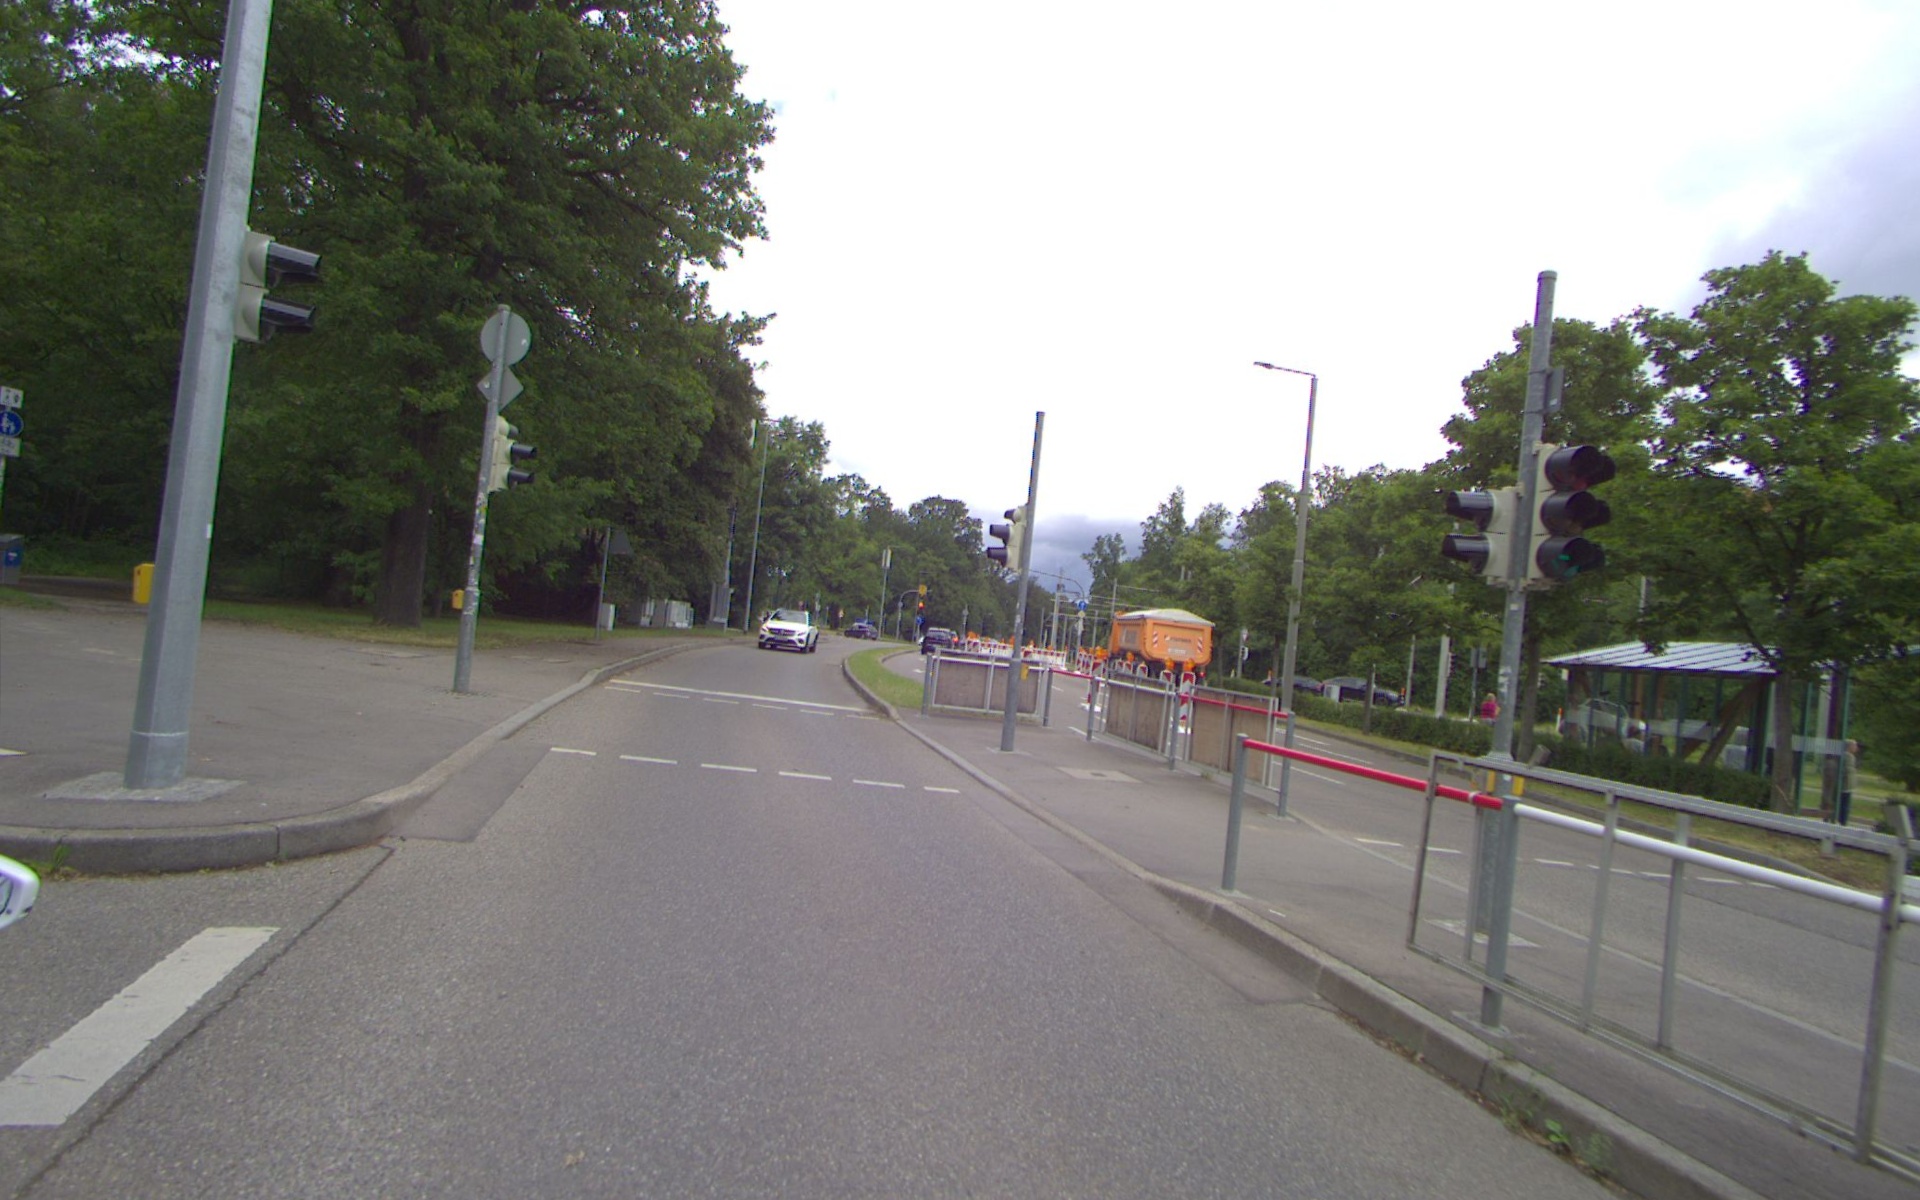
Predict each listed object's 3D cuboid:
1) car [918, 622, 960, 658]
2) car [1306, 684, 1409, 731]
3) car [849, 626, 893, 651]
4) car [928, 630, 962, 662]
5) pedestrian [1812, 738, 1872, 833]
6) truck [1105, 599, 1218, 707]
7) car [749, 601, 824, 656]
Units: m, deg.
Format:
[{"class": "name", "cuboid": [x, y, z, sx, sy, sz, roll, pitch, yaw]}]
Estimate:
[{"class": "car", "cuboid": [-1.179, 2.334, 58.045, 1.963, 1.736, 4.005, 8, -3, 3]}, {"class": "car", "cuboid": [24.336, 6.570, 61.679, 5.358, 2.036, 1.993, 6, -3, 40]}, {"class": "car", "cuboid": [-9.030, 3.886, 102.162, 3.942, 1.903, 1.994, 6, -3, 40]}, {"class": "car", "cuboid": [-0.935, 2.988, 65.279, 1.768, 1.757, 3.708, 8, -3, 3]}, {"class": "pedestrian", "cuboid": [15.224, 3.198, 17.374, 0.516, 1.533, 0.477, 8, -2, -21]}, {"class": "truck", "cuboid": [7.768, 2.005, 39.975, 2.814, 3.556, 8.252, 6, -1, 3]}, {"class": "car", "cuboid": [-6.748, 1.181, 39.613, 1.963, 1.769, 4.583, 8, -3, 0]}]
